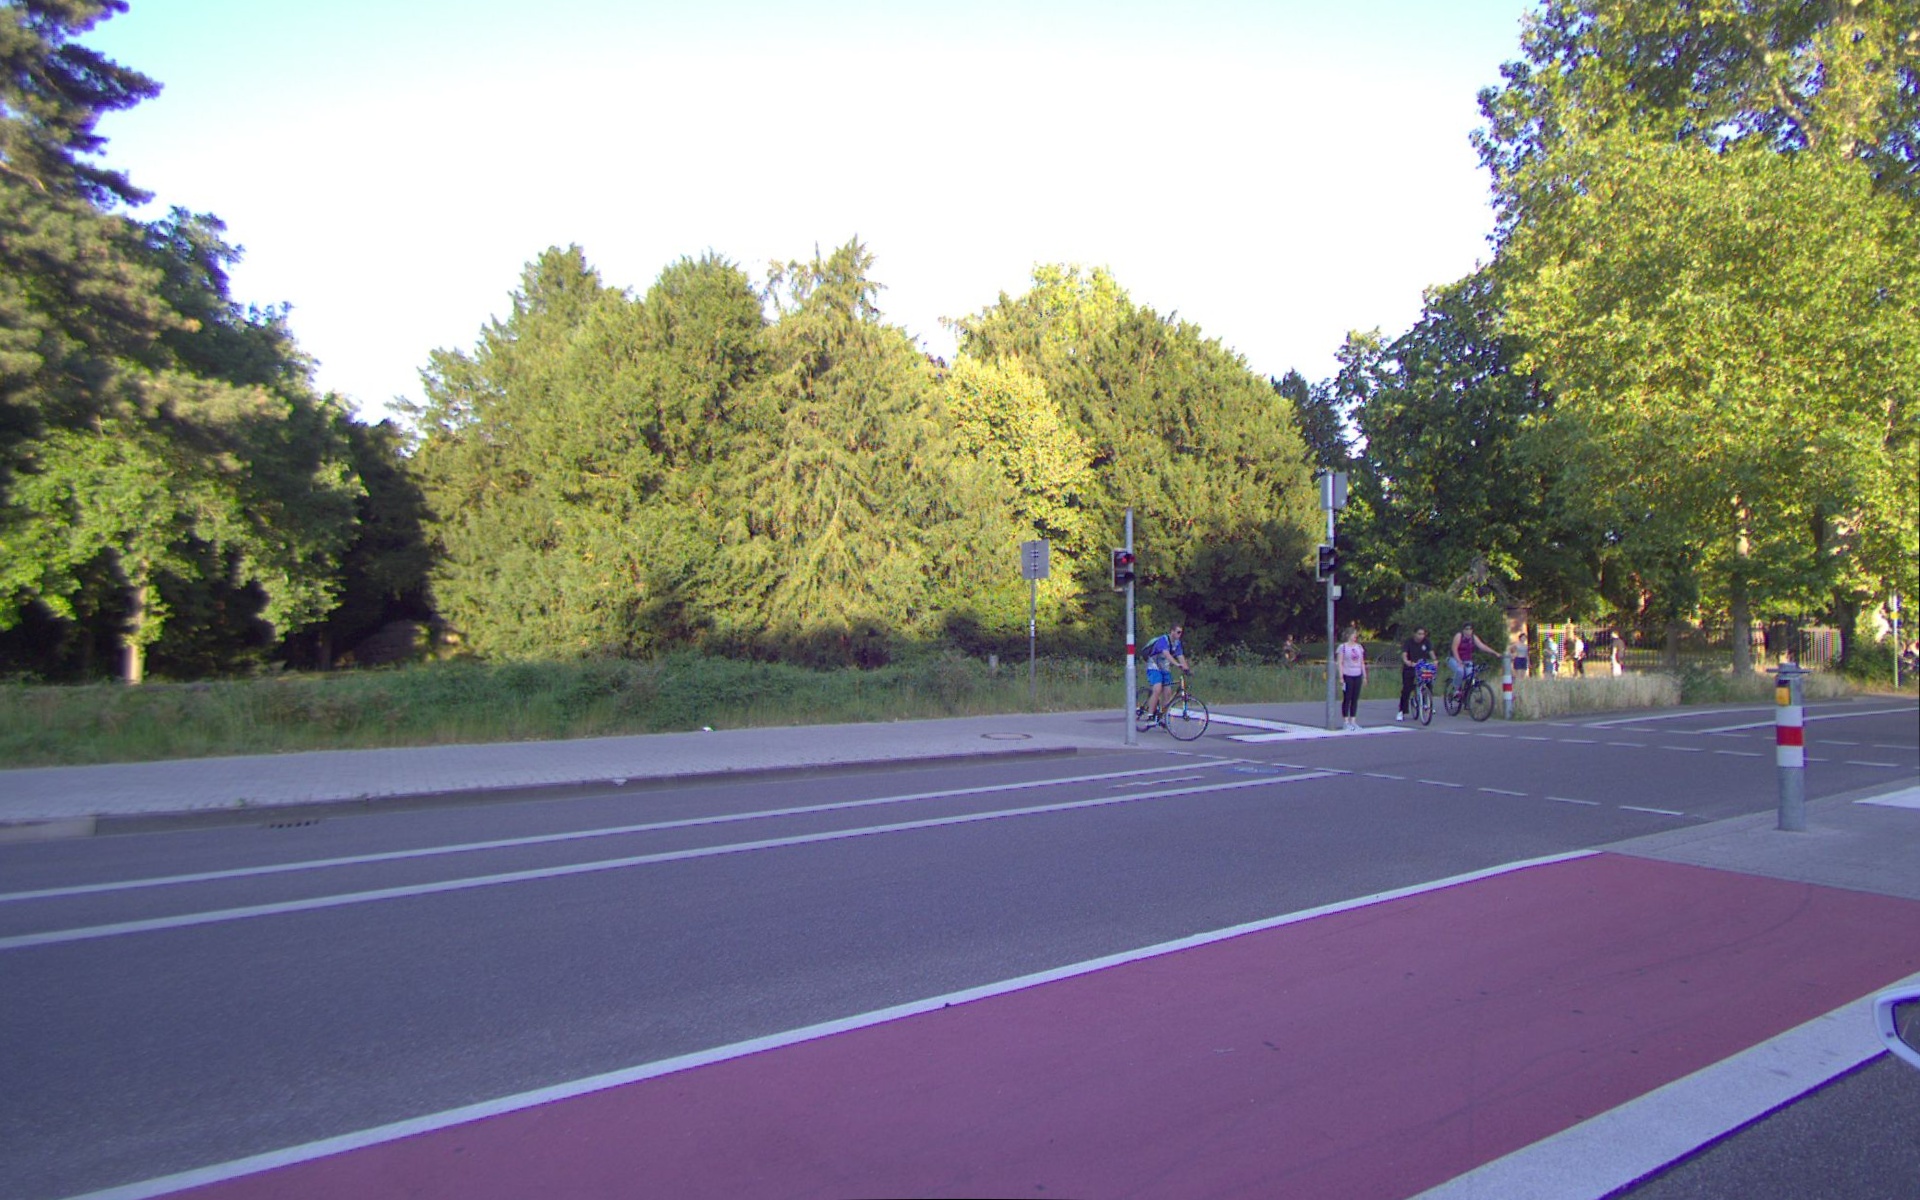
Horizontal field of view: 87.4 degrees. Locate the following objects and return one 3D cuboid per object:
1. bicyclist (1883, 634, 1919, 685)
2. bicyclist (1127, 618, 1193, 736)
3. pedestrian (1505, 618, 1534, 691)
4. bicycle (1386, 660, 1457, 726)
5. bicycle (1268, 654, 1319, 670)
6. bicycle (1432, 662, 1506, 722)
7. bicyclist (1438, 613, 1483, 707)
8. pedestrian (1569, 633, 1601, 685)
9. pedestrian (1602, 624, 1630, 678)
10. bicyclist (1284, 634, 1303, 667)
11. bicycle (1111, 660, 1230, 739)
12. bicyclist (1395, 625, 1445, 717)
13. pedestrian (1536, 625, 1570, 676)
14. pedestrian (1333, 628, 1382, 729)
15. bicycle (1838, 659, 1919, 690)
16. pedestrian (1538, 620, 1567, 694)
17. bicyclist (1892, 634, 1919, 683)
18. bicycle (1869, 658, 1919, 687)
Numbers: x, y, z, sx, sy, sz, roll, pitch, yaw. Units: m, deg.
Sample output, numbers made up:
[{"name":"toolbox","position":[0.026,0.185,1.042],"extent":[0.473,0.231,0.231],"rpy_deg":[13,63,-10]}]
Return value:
[{"name":"bicyclist","position":[31.159,1.950,33.045],"extent":[0.743,1.652,0.954],"rpy_deg":[1,-2,-29]},{"name":"bicyclist","position":[3.235,1.226,16.277],"extent":[0.729,1.848,0.705],"rpy_deg":[2,0,-33]},{"name":"pedestrian","position":[16.047,1.553,28.805],"extent":[0.638,2.040,0.606],"rpy_deg":[0,-1,22]},{"name":"bicycle","position":[8.539,1.702,18.636],"extent":[0.620,1.126,1.569],"rpy_deg":[0,-2,1]},{"name":"bicycle","position":[16.013,2.966,48.258],"extent":[0.664,0.700,2.283],"rpy_deg":[2,-2,-43]},{"name":"bicycle","position":[9.832,1.759,19.479],"extent":[0.568,1.043,1.772],"rpy_deg":[0,-2,1]},{"name":"bicyclist","position":[9.815,1.172,19.708],"extent":[0.564,1.803,0.640],"rpy_deg":[0,-2,1]},{"name":"pedestrian","position":[25.205,2.354,40.511],"extent":[1.066,2.040,0.755],"rpy_deg":[1,-1,-35]},{"name":"pedestrian","position":[25.292,1.958,38.743],"extent":[0.692,2.040,0.637],"rpy_deg":[1,-2,-28]},{"name":"bicyclist","position":[16.022,2.424,48.262],"extent":[0.687,1.579,0.640],"rpy_deg":[1,-2,-43]},{"name":"bicycle","position":[3.299,1.535,15.952],"extent":[0.762,1.115,2.110],"rpy_deg":[1,-2,-24]},{"name":"bicyclist","position":[8.546,1.312,18.677],"extent":[0.618,1.671,0.640],"rpy_deg":[0,-2,1]},{"name":"pedestrian","position":[24.128,2.045,40.858],"extent":[0.982,2.040,0.799],"rpy_deg":[1,-1,-30]},{"name":"pedestrian","position":[6.911,1.340,17.480],"extent":[0.492,1.718,0.604],"rpy_deg":[1,-2,-28]},{"name":"bicycle","position":[30.924,2.457,33.433],"extent":[0.765,0.936,2.420],"rpy_deg":[1,-2,-28]},{"name":"pedestrian","position":[16.603,1.583,28.144],"extent":[0.584,2.040,0.642],"rpy_deg":[0,-1,20]},{"name":"bicyclist","position":[32.493,1.987,34.187],"extent":[0.743,1.652,0.954],"rpy_deg":[1,-2,-29]},{"name":"bicycle","position":[32.558,2.480,34.073],"extent":[0.765,0.936,2.420],"rpy_deg":[1,-2,-28]}]
